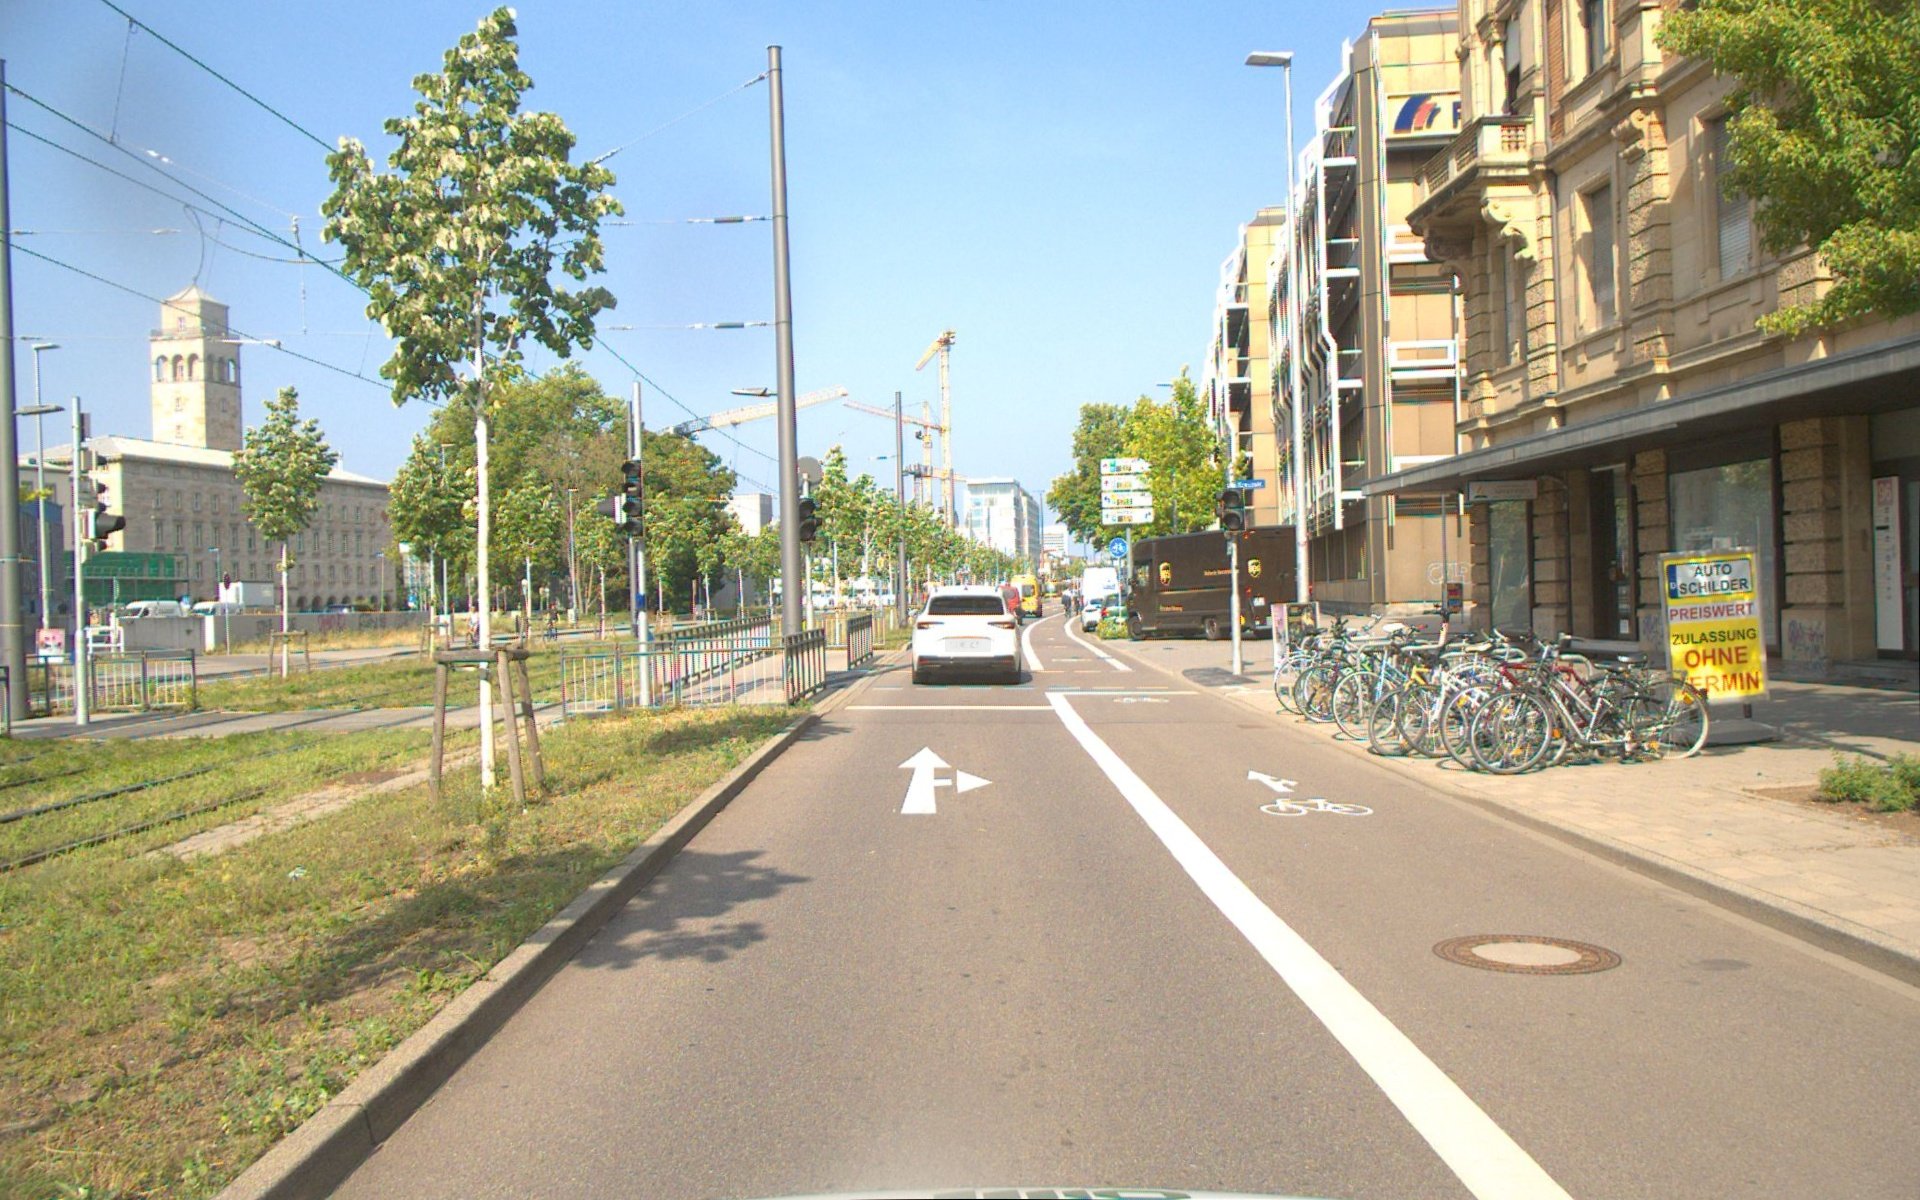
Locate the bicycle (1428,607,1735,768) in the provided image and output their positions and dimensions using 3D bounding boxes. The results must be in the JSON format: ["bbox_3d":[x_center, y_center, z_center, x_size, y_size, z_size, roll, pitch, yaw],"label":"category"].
[{"bbox_3d":[4.960,0.689,13.277,2.194,1.123,0.588,-4,0,-1],"label":"bicycle"}]

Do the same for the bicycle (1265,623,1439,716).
[{"bbox_3d":[4.588,0.810,19.401,1.894,0.962,0.429,-4,0,2],"label":"bicycle"}]

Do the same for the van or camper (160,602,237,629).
[{"bbox_3d":[-63.432,1.242,137.904,2.501,2.122,6.444,-1,0,12],"label":"van or camper"}]

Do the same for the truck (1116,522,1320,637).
[{"bbox_3d":[7.305,-0.556,47.818,2.477,3.064,6.908,-1,0,-24],"label":"truck"}]

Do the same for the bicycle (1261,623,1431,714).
[{"bbox_3d":[4.617,0.816,19.844,1.894,0.962,0.429,-4,0,2],"label":"bicycle"}]

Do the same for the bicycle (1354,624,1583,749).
[{"bbox_3d":[4.670,0.787,15.239,1.916,1.003,0.470,-4,0,-1],"label":"bicycle"}]

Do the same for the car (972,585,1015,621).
[{"bbox_3d":[1.670,0.137,81.126,1.952,1.713,4.370,-1,0,3],"label":"car"}]

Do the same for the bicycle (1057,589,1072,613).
[{"bbox_3d":[6.872,0.082,108.945,0.766,1.522,2.800,-1,0,-1],"label":"bicycle"}]

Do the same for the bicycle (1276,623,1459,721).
[{"bbox_3d":[4.558,0.799,18.537,1.894,0.962,0.441,-4,0,2],"label":"bicycle"}]

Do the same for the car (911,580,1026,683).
[{"bbox_3d":[0.069,0.508,28.539,1.781,1.617,4.404,-1,0,-2],"label":"car"}]

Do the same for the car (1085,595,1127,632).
[{"bbox_3d":[5.873,0.507,66.532,1.615,1.409,3.528,-1,0,5],"label":"car"}]

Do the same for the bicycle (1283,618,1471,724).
[{"bbox_3d":[4.544,0.771,18.090,1.894,1.030,0.441,-4,0,2],"label":"bicycle"}]

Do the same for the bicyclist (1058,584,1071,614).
[{"bbox_3d":[6.873,-0.073,108.780,0.694,1.929,0.843,-1,0,-1],"label":"bicyclist"}]

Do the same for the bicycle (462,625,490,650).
[{"bbox_3d":[-19.686,1.529,67.263,0.527,0.975,1.918,-1,0,1],"label":"bicycle"}]

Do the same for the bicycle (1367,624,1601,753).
[{"bbox_3d":[4.662,0.781,14.759,1.895,1.003,0.470,-4,0,-1],"label":"bicycle"}]

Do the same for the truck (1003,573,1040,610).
[{"bbox_3d":[4.041,-0.552,109.731,2.167,2.358,5.889,-1,0,0],"label":"truck"}]

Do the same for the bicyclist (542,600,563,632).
[{"bbox_3d":[-19.531,0.763,79.252,0.681,1.542,1.186,-1,0,0],"label":"bicyclist"}]

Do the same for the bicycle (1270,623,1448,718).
[{"bbox_3d":[4.573,0.805,19.017,1.894,0.962,0.441,-4,0,2],"label":"bicycle"}]

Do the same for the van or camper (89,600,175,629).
[{"bbox_3d":[-65.077,1.124,130.158,2.501,2.122,6.444,-1,0,12],"label":"van or camper"}]

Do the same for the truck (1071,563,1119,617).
[{"bbox_3d":[6.544,-0.480,80.412,1.953,2.552,4.000,-1,0,0],"label":"truck"}]

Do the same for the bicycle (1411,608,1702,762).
[{"bbox_3d":[4.965,0.695,13.833,2.194,1.123,0.519,-4,0,-1],"label":"bicycle"}]

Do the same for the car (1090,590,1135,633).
[{"bbox_3d":[5.727,0.421,62.231,1.615,1.525,3.528,-1,0,5],"label":"car"}]

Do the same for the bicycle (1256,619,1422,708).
[{"bbox_3d":[4.641,0.776,20.310,1.894,0.962,0.429,-4,0,2],"label":"bicycle"}]

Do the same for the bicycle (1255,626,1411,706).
[{"bbox_3d":[4.724,0.835,20.988,1.847,0.878,0.429,-4,0,2],"label":"bicycle"}]

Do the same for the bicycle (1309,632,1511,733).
[{"bbox_3d":[4.578,0.833,16.881,1.895,0.889,0.440,-4,0,-1],"label":"bicycle"}]

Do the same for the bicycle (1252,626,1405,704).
[{"bbox_3d":[4.763,0.841,21.432,1.847,0.878,0.429,-4,0,2],"label":"bicycle"}]

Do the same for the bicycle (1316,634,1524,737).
[{"bbox_3d":[4.559,0.843,16.436,1.895,0.889,0.440,-4,0,-1],"label":"bicycle"}]

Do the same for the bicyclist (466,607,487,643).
[{"bbox_3d":[-19.701,1.003,67.385,0.527,1.447,0.900,-1,0,1],"label":"bicyclist"}]

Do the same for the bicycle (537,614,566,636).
[{"bbox_3d":[-19.515,1.192,79.048,0.681,1.008,2.824,-1,0,0],"label":"bicycle"}]
